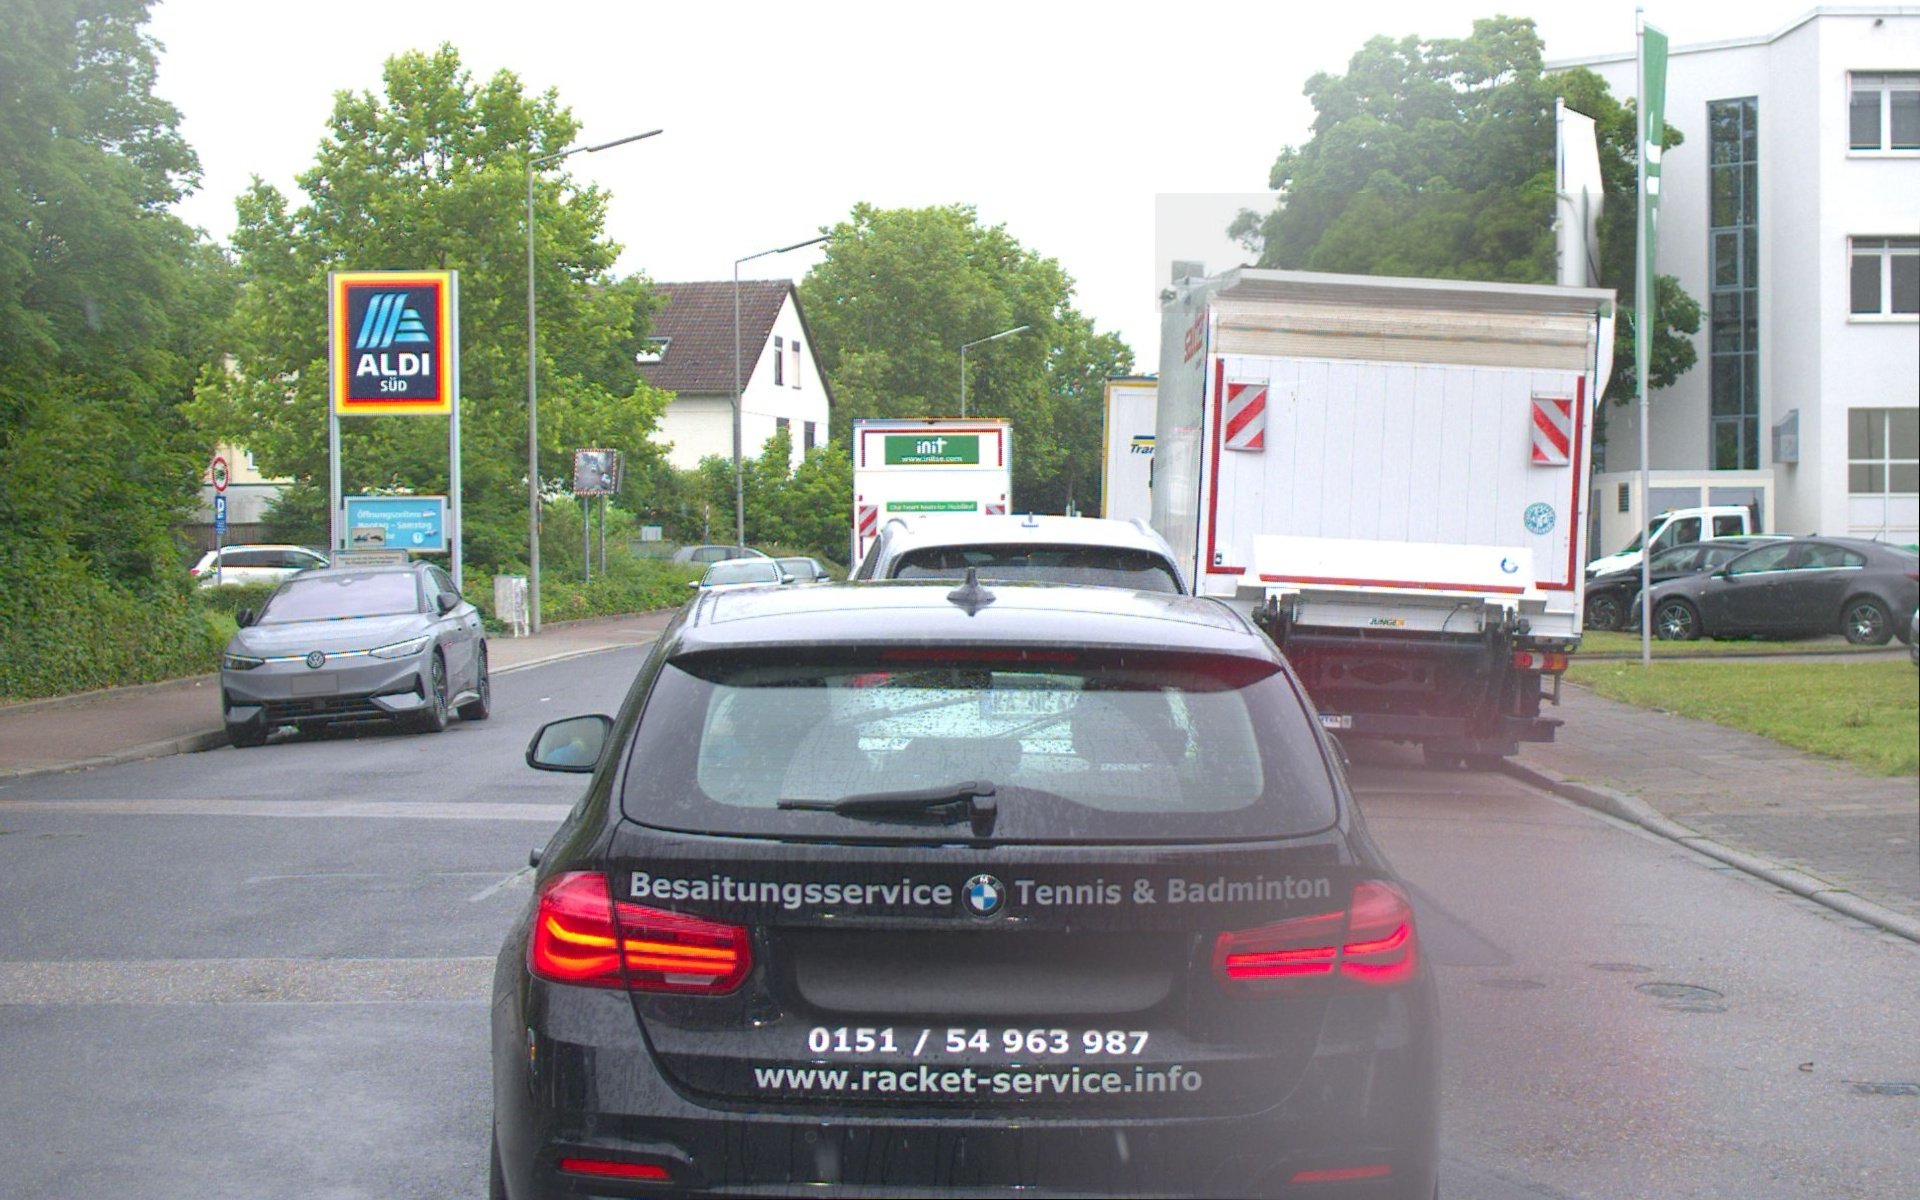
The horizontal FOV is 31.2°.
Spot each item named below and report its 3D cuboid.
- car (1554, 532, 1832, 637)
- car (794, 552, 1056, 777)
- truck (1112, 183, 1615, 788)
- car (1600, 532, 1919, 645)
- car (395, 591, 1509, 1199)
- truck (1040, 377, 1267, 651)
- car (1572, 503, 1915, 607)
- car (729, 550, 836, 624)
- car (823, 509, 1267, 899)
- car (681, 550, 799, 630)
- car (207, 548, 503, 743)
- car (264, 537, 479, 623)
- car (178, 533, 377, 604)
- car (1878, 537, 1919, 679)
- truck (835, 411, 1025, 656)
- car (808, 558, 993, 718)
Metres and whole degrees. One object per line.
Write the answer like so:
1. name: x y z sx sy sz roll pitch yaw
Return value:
1. car: 11.260 -0.272 52.922 3.778 1.392 1.723 4 4 40
2. car: -0.299 0.426 25.845 1.804 1.547 4.000 1 1 -2
3. truck: 2.796 -0.816 26.741 2.741 3.776 9.299 2 1 0
4. car: 11.148 -0.177 46.317 4.671 1.463 1.787 0 1 38
5. car: -0.071 0.699 7.597 1.804 1.390 4.000 1 1 -2
6. truck: 2.704 -1.224 50.286 2.741 3.598 7.750 2 1 0
7. car: 15.842 -0.904 69.681 6.452 2.007 2.000 1 0 -4
8. car: -3.619 -0.288 70.525 1.706 1.362 3.838 -2 1 4
9. car: 0.289 0.408 16.082 1.804 1.581 4.000 1 1 -2
10. car: -4.095 -0.211 64.596 1.705 1.362 4.601 -2 1 2
11. car: -5.426 0.355 31.416 1.809 1.523 4.748 -4 1 -1
12. car: -10.717 -0.372 62.747 3.570 1.455 1.712 2 1 2
13. car: -15.091 -0.708 76.149 3.987 1.535 1.911 0 1 1
14. car: 11.003 0.053 34.664 3.758 1.388 1.705 -1 1 -44
15. truck: -0.341 -1.120 50.844 2.341 3.245 7.751 3 3 2
16. car: -0.643 0.354 35.792 1.804 1.547 4.000 1 1 -2
